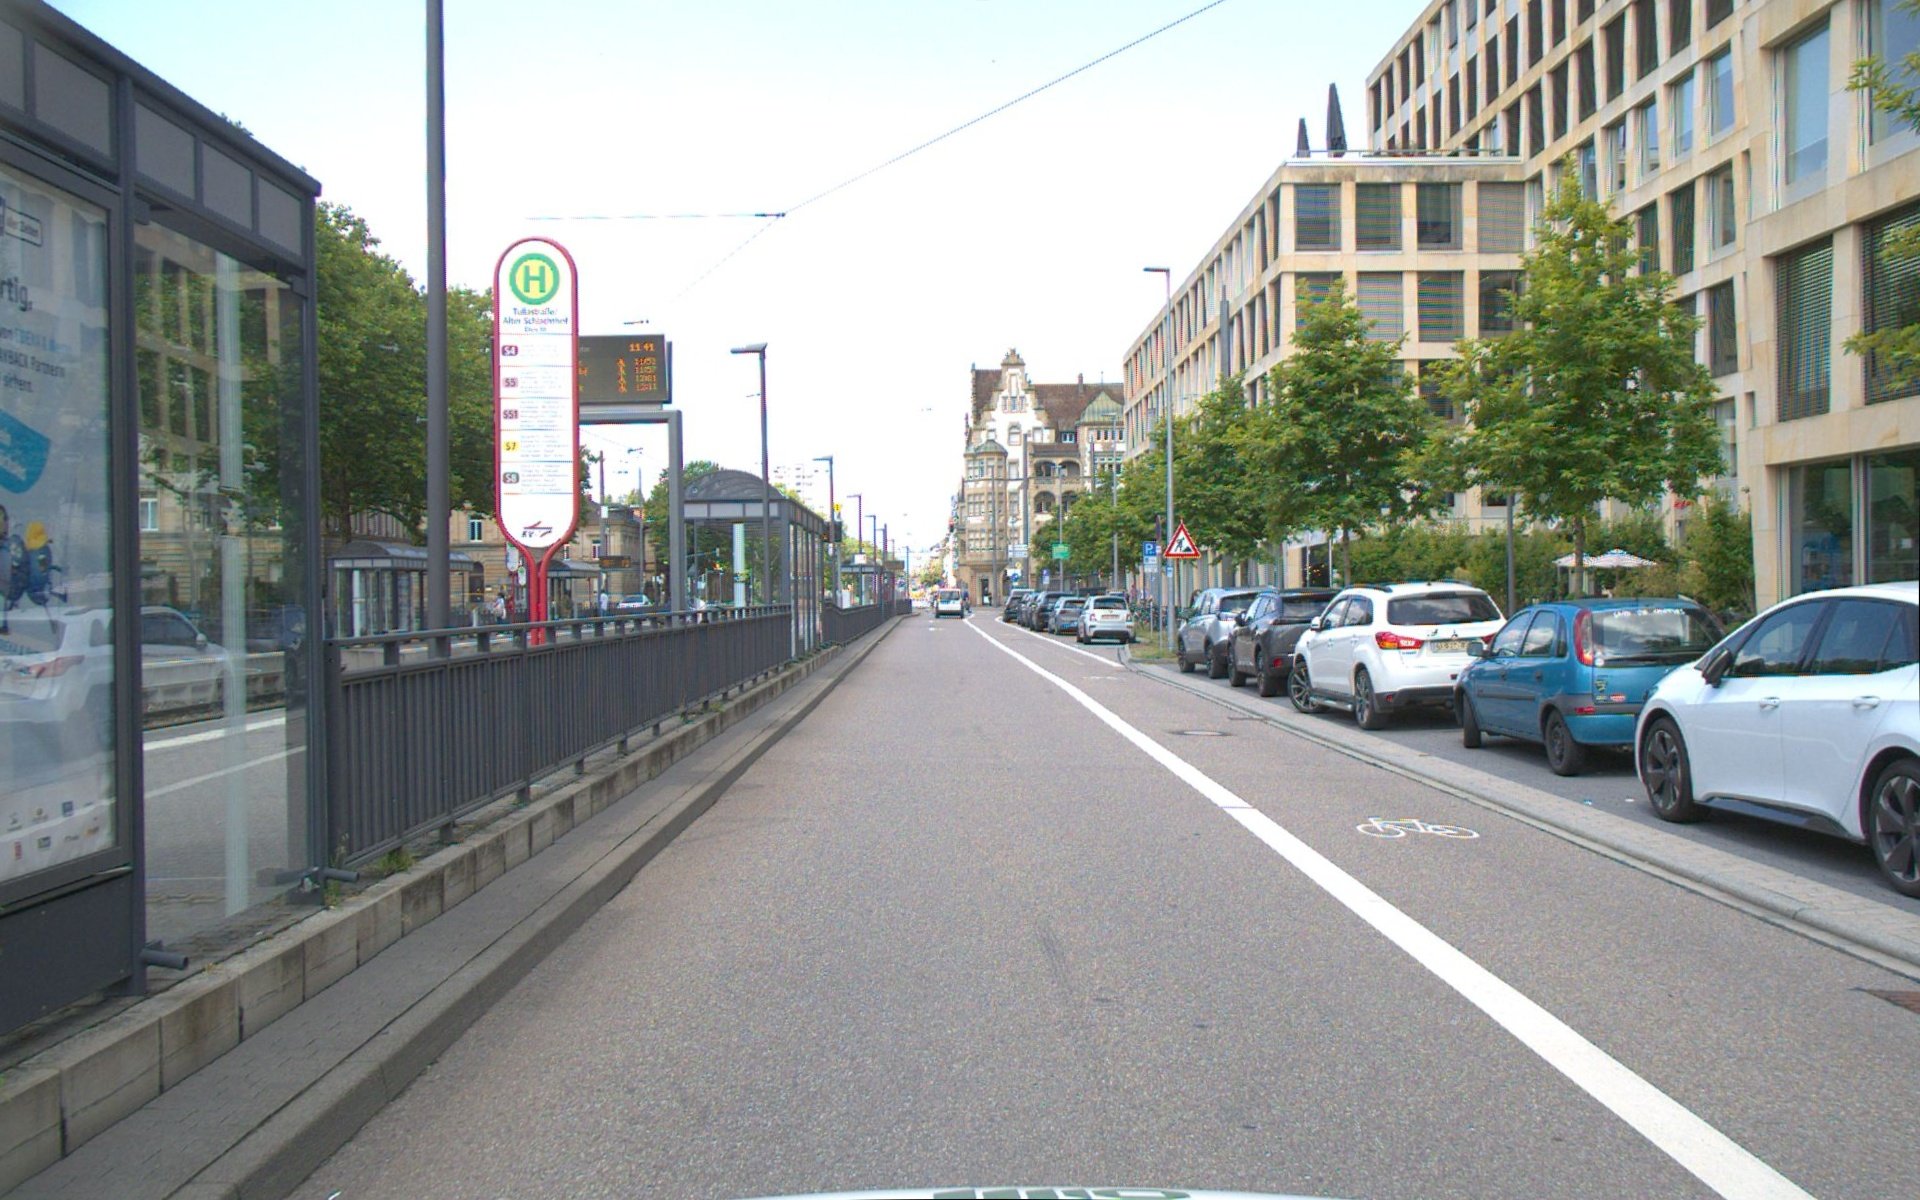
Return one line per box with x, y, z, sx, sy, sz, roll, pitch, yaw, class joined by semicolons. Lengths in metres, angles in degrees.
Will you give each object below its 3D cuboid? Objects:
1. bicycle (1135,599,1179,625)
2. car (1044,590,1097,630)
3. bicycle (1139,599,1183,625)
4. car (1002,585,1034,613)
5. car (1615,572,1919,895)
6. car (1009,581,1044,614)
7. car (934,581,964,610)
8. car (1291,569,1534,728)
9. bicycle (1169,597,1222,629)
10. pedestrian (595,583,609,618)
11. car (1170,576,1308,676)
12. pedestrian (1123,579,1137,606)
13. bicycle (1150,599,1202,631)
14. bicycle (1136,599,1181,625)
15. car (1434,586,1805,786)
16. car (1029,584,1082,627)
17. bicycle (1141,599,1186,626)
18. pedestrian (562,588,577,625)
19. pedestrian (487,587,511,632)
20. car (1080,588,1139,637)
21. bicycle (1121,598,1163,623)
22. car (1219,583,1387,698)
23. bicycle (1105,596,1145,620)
7.944;0.479;66.638;1.717;1.003;0.325;-2;0;-2;bicycle
4.234;0.368;63.807;1.559;1.459;4.105;1;0;-3;car
8.010;0.483;65.931;1.717;1.003;0.325;-2;0;-2;bicycle
3.161;-0.057;90.655;1.414;1.495;4.090;1;0;-3;car
5.594;0.639;9.690;1.756;1.556;4.158;-2;0;-1;car
3.836;-0.155;95.553;1.675;1.828;3.360;1;0;-3;car
-0.723;-0.304;103.948;1.831;1.777;3.999;0;0;-2;car
5.246;0.502;19.737;1.651;1.634;4.151;-2;0;-1;car
8.173;0.443;57.379;1.785;1.094;0.275;-1;0;3;bicycle
-17.890;0.015;82.593;0.490;1.712;0.643;-2;0;-1;pedestrian
5.167;0.452;31.110;1.652;1.662;3.988;-3;0;-3;car
10.873;-0.467;105.851;0.745;1.699;0.659;-1;0;-2;pedestrian
7.783;0.532;59.702;1.785;1.094;0.686;-1;0;3;bicycle
7.954;0.483;66.290;1.717;1.003;0.325;-2;0;-2;bicycle
5.698;0.653;14.844;1.651;1.483;3.950;-2;0;-1;car
3.958;0.203;69.322;1.703;1.698;4.838;1;0;-3;car
8.052;0.483;65.590;1.717;1.003;0.325;-2;0;-2;bicycle
-16.931;0.262;71.709;0.490;1.585;0.643;-1;0;-1;pedestrian
-16.284;0.328;58.463;0.688;1.539;0.802;-2;0;-8;pedestrian
4.722;0.369;52.577;1.558;1.485;3.613;0;1;0;car
7.951;0.471;72.243;1.786;1.048;0.584;-1;0;2;bicycle
5.183;0.562;25.457;1.651;1.575;3.925;-2;0;-1;car
7.781;0.358;77.961;1.802;1.048;0.339;-3;0;-3;bicycle
